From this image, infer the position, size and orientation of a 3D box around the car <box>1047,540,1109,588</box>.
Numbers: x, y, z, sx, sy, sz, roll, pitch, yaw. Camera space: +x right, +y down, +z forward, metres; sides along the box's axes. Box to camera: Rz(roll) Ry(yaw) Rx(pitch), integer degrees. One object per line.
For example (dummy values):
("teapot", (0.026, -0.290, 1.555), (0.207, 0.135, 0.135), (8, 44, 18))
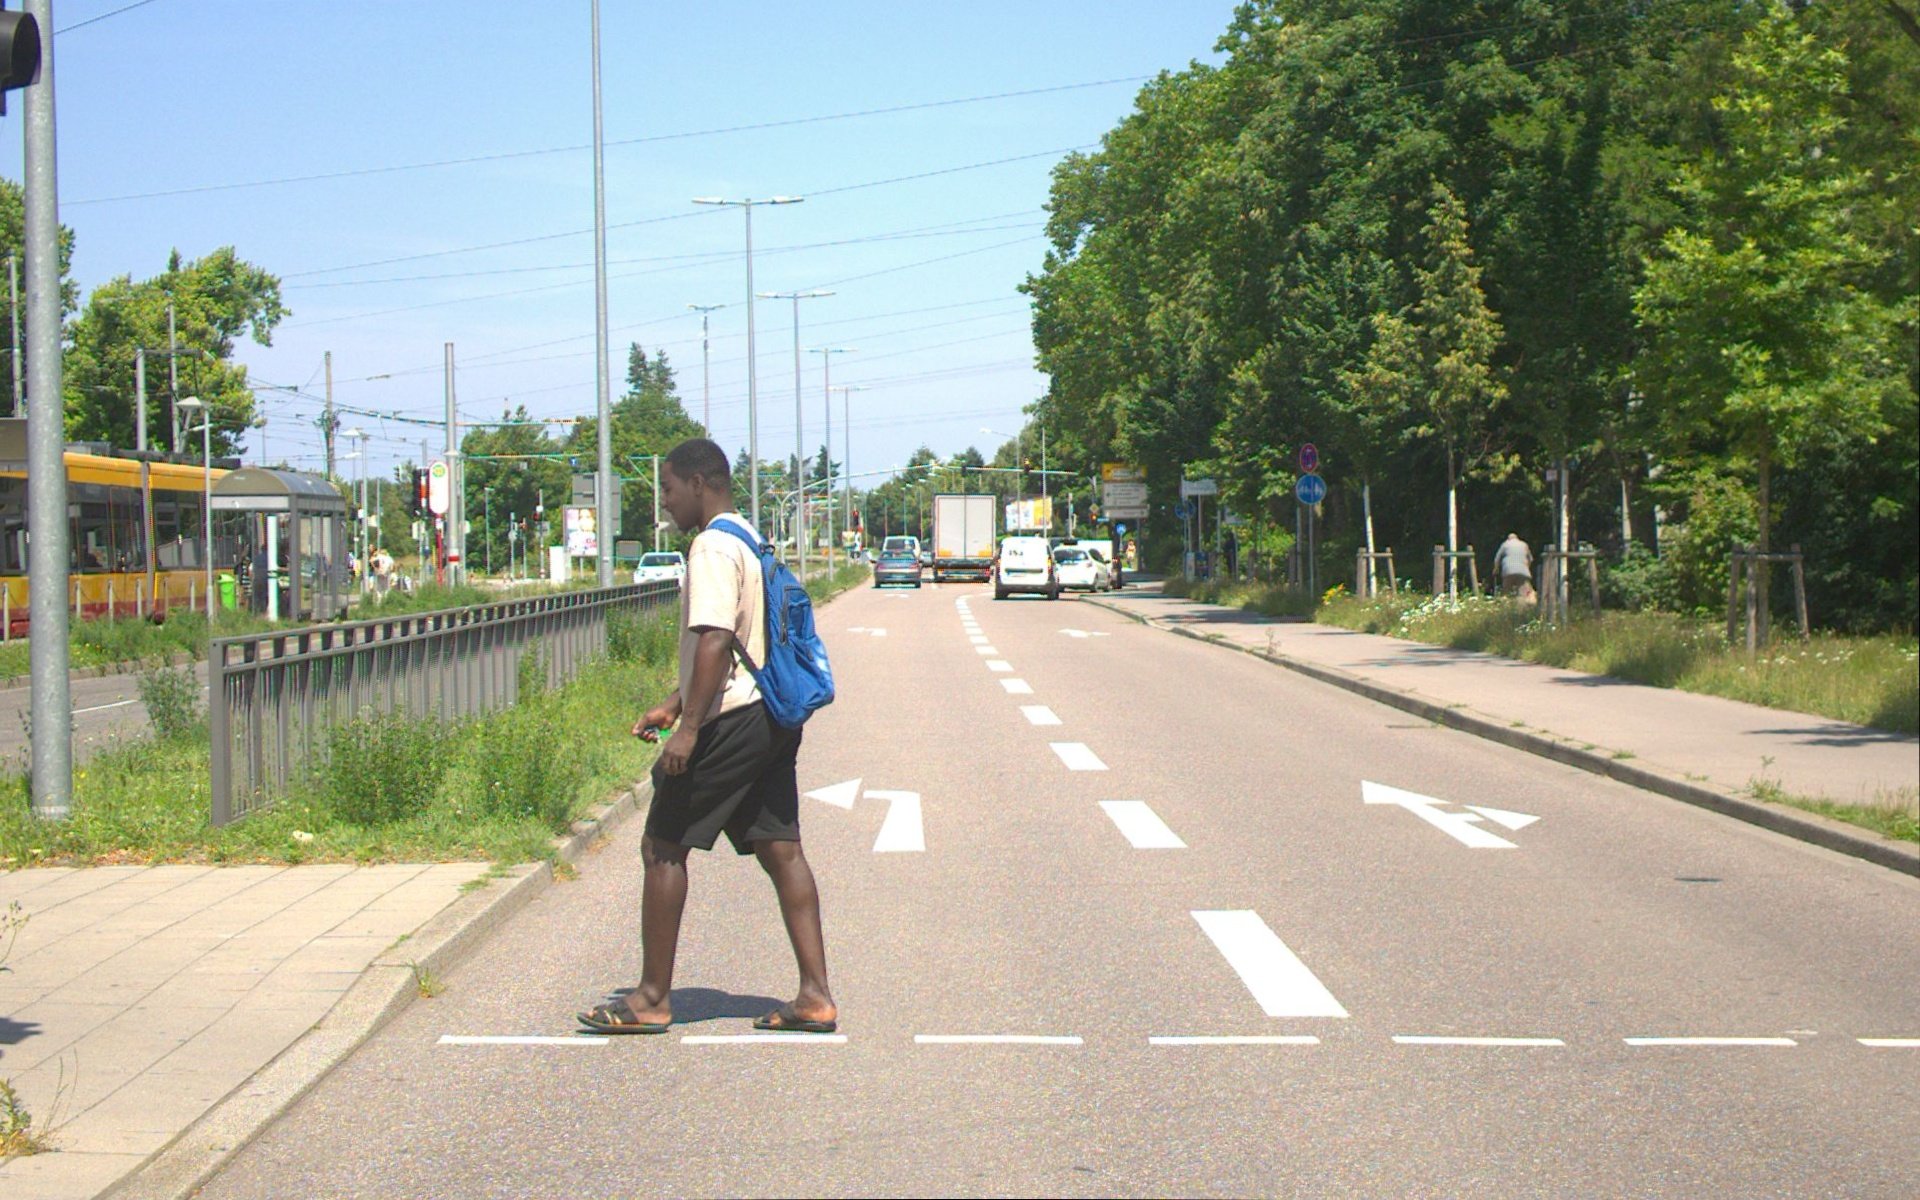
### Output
("car", (3.835, -1.195, 111.836), (1.803, 1.534, 4.000), (0, 1, -1))

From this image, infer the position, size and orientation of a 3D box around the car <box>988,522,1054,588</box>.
("car", (1.771, -1.300, 98.788), (1.728, 1.807, 4.000), (1, 1, 3))

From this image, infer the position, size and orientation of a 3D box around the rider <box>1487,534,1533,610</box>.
("rider", (9.278, -0.473, 58.032), (0.678, 1.277, 0.534), (0, 1, -1))

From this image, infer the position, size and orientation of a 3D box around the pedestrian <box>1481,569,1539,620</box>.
("pedestrian", (9.279, -0.101, 58.060), (0.678, 0.845, 1.774), (0, 1, -1))

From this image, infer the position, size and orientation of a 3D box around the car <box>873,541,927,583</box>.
("car", (-2.181, -1.411, 125.854), (1.802, 1.481, 4.000), (0, 1, 1))

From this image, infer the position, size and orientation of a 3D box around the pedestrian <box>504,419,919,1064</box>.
("pedestrian", (-0.732, 0.396, 10.309), (1.047, 1.844, 0.757), (0, 1, 15))

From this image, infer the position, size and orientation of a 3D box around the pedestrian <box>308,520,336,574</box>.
("pedestrian", (-23.050, -1.908, 124.176), (0.863, 1.957, 0.873), (0, 1, -1))

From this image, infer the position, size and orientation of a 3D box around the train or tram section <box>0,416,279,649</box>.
("train or tram section", (-16.545, -1.216, 64.093), (2.788, 3.655, 26.000), (0, 1, -1))

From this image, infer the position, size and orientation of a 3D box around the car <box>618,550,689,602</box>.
("car", (-9.949, -0.790, 111.839), (1.993, 1.644, 4.000), (0, 1, -1))

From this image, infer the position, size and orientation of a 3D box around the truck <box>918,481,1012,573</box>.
("truck", (0.148, -3.147, 148.549), (3.899, 3.800, 10.793), (0, 1, -1))
